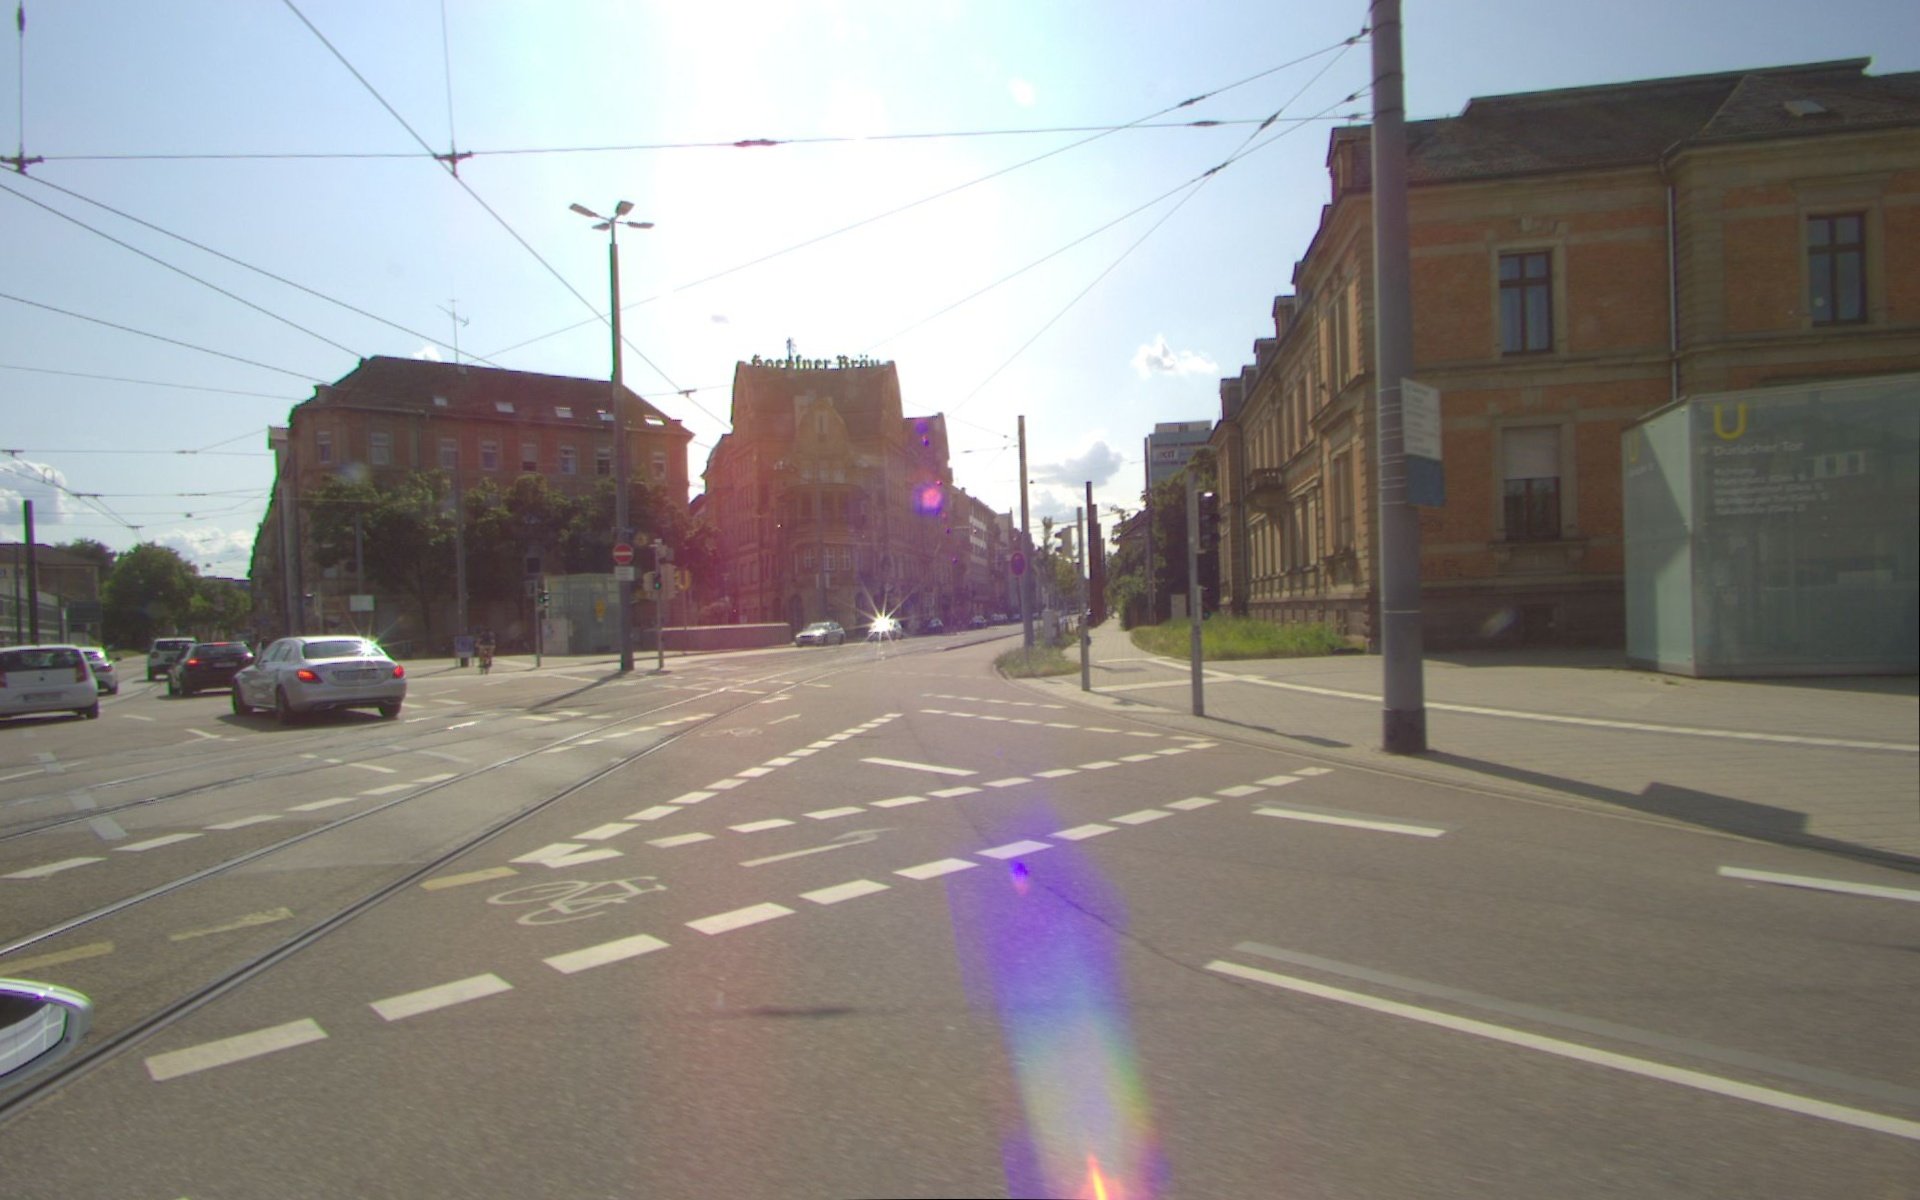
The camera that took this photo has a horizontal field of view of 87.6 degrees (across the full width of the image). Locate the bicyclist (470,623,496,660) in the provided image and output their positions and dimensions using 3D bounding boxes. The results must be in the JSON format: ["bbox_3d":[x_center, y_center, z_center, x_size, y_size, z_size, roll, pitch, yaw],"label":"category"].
[{"bbox_3d":[-16.651,1.427,34.924,0.629,1.236,0.917,-3,1,-36],"label":"bicyclist"}]

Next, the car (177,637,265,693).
[{"bbox_3d":[-20.669,1.766,27.957,1.685,1.390,4.098,-2,-1,-40],"label":"car"}]

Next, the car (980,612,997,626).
[{"bbox_3d":[4.071,2.685,141.105,1.962,1.839,4.000,-2,-1,7],"label":"car"}]

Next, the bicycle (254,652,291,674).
[{"bbox_3d":[-26.413,2.419,38.484,1.599,0.786,0.583,-3,0,33],"label":"bicycle"}]

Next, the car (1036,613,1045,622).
[{"bbox_3d":[19.059,4.157,236.734,1.962,1.839,4.000,-2,-1,7],"label":"car"}]

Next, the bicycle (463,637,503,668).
[{"bbox_3d":[-16.679,1.822,34.992,0.839,0.983,1.946,-3,0,-37],"label":"bicycle"}]

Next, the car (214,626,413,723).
[{"bbox_3d":[-11.748,1.265,18.062,4.709,1.474,1.919,-3,-1,43],"label":"car"}]

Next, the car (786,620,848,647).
[{"bbox_3d":[-8.755,2.016,61.723,2.010,1.448,4.533,-4,-1,16],"label":"car"}]

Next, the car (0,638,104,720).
[{"bbox_3d":[-18.448,1.526,20.240,1.636,1.440,3.968,-2,0,-40],"label":"car"}]

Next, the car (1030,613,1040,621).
[{"bbox_3d":[16.476,3.738,218.992,1.962,1.839,4.000,-2,-1,7],"label":"car"}]

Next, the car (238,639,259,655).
[{"bbox_3d":[-78.071,5.127,109.961,1.819,1.673,3.975,-1,-2,-35],"label":"car"}]

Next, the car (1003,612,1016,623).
[{"bbox_3d":[8.795,3.176,178.788,1.962,1.839,4.000,-2,-1,7],"label":"car"}]

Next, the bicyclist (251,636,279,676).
[{"bbox_3d":[-26.569,2.141,38.282,0.764,1.470,0.606,-2,0,36],"label":"bicyclist"}]

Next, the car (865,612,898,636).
[{"bbox_3d":[-5.211,1.585,67.233,1.953,1.503,4.000,-2,0,-2],"label":"car"}]

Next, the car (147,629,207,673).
[{"bbox_3d":[-32.045,2.094,40.971,1.821,1.673,3.970,-1,-2,-39],"label":"car"}]

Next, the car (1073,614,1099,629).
[{"bbox_3d":[12.374,2.072,98.022,1.964,1.394,3.995,-2,-1,15],"label":"car"}]

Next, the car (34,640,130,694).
[{"bbox_3d":[-26.208,1.976,30.002,1.833,1.437,3.653,-1,-2,-37],"label":"car"}]

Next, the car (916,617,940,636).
[{"bbox_3d":[-3.057,2.536,96.884,1.688,1.704,3.927,-2,-1,7],"label":"car"}]

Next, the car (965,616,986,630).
[{"bbox_3d":[1.727,2.557,109.228,1.858,1.438,4.000,-2,-1,7],"label":"car"}]
